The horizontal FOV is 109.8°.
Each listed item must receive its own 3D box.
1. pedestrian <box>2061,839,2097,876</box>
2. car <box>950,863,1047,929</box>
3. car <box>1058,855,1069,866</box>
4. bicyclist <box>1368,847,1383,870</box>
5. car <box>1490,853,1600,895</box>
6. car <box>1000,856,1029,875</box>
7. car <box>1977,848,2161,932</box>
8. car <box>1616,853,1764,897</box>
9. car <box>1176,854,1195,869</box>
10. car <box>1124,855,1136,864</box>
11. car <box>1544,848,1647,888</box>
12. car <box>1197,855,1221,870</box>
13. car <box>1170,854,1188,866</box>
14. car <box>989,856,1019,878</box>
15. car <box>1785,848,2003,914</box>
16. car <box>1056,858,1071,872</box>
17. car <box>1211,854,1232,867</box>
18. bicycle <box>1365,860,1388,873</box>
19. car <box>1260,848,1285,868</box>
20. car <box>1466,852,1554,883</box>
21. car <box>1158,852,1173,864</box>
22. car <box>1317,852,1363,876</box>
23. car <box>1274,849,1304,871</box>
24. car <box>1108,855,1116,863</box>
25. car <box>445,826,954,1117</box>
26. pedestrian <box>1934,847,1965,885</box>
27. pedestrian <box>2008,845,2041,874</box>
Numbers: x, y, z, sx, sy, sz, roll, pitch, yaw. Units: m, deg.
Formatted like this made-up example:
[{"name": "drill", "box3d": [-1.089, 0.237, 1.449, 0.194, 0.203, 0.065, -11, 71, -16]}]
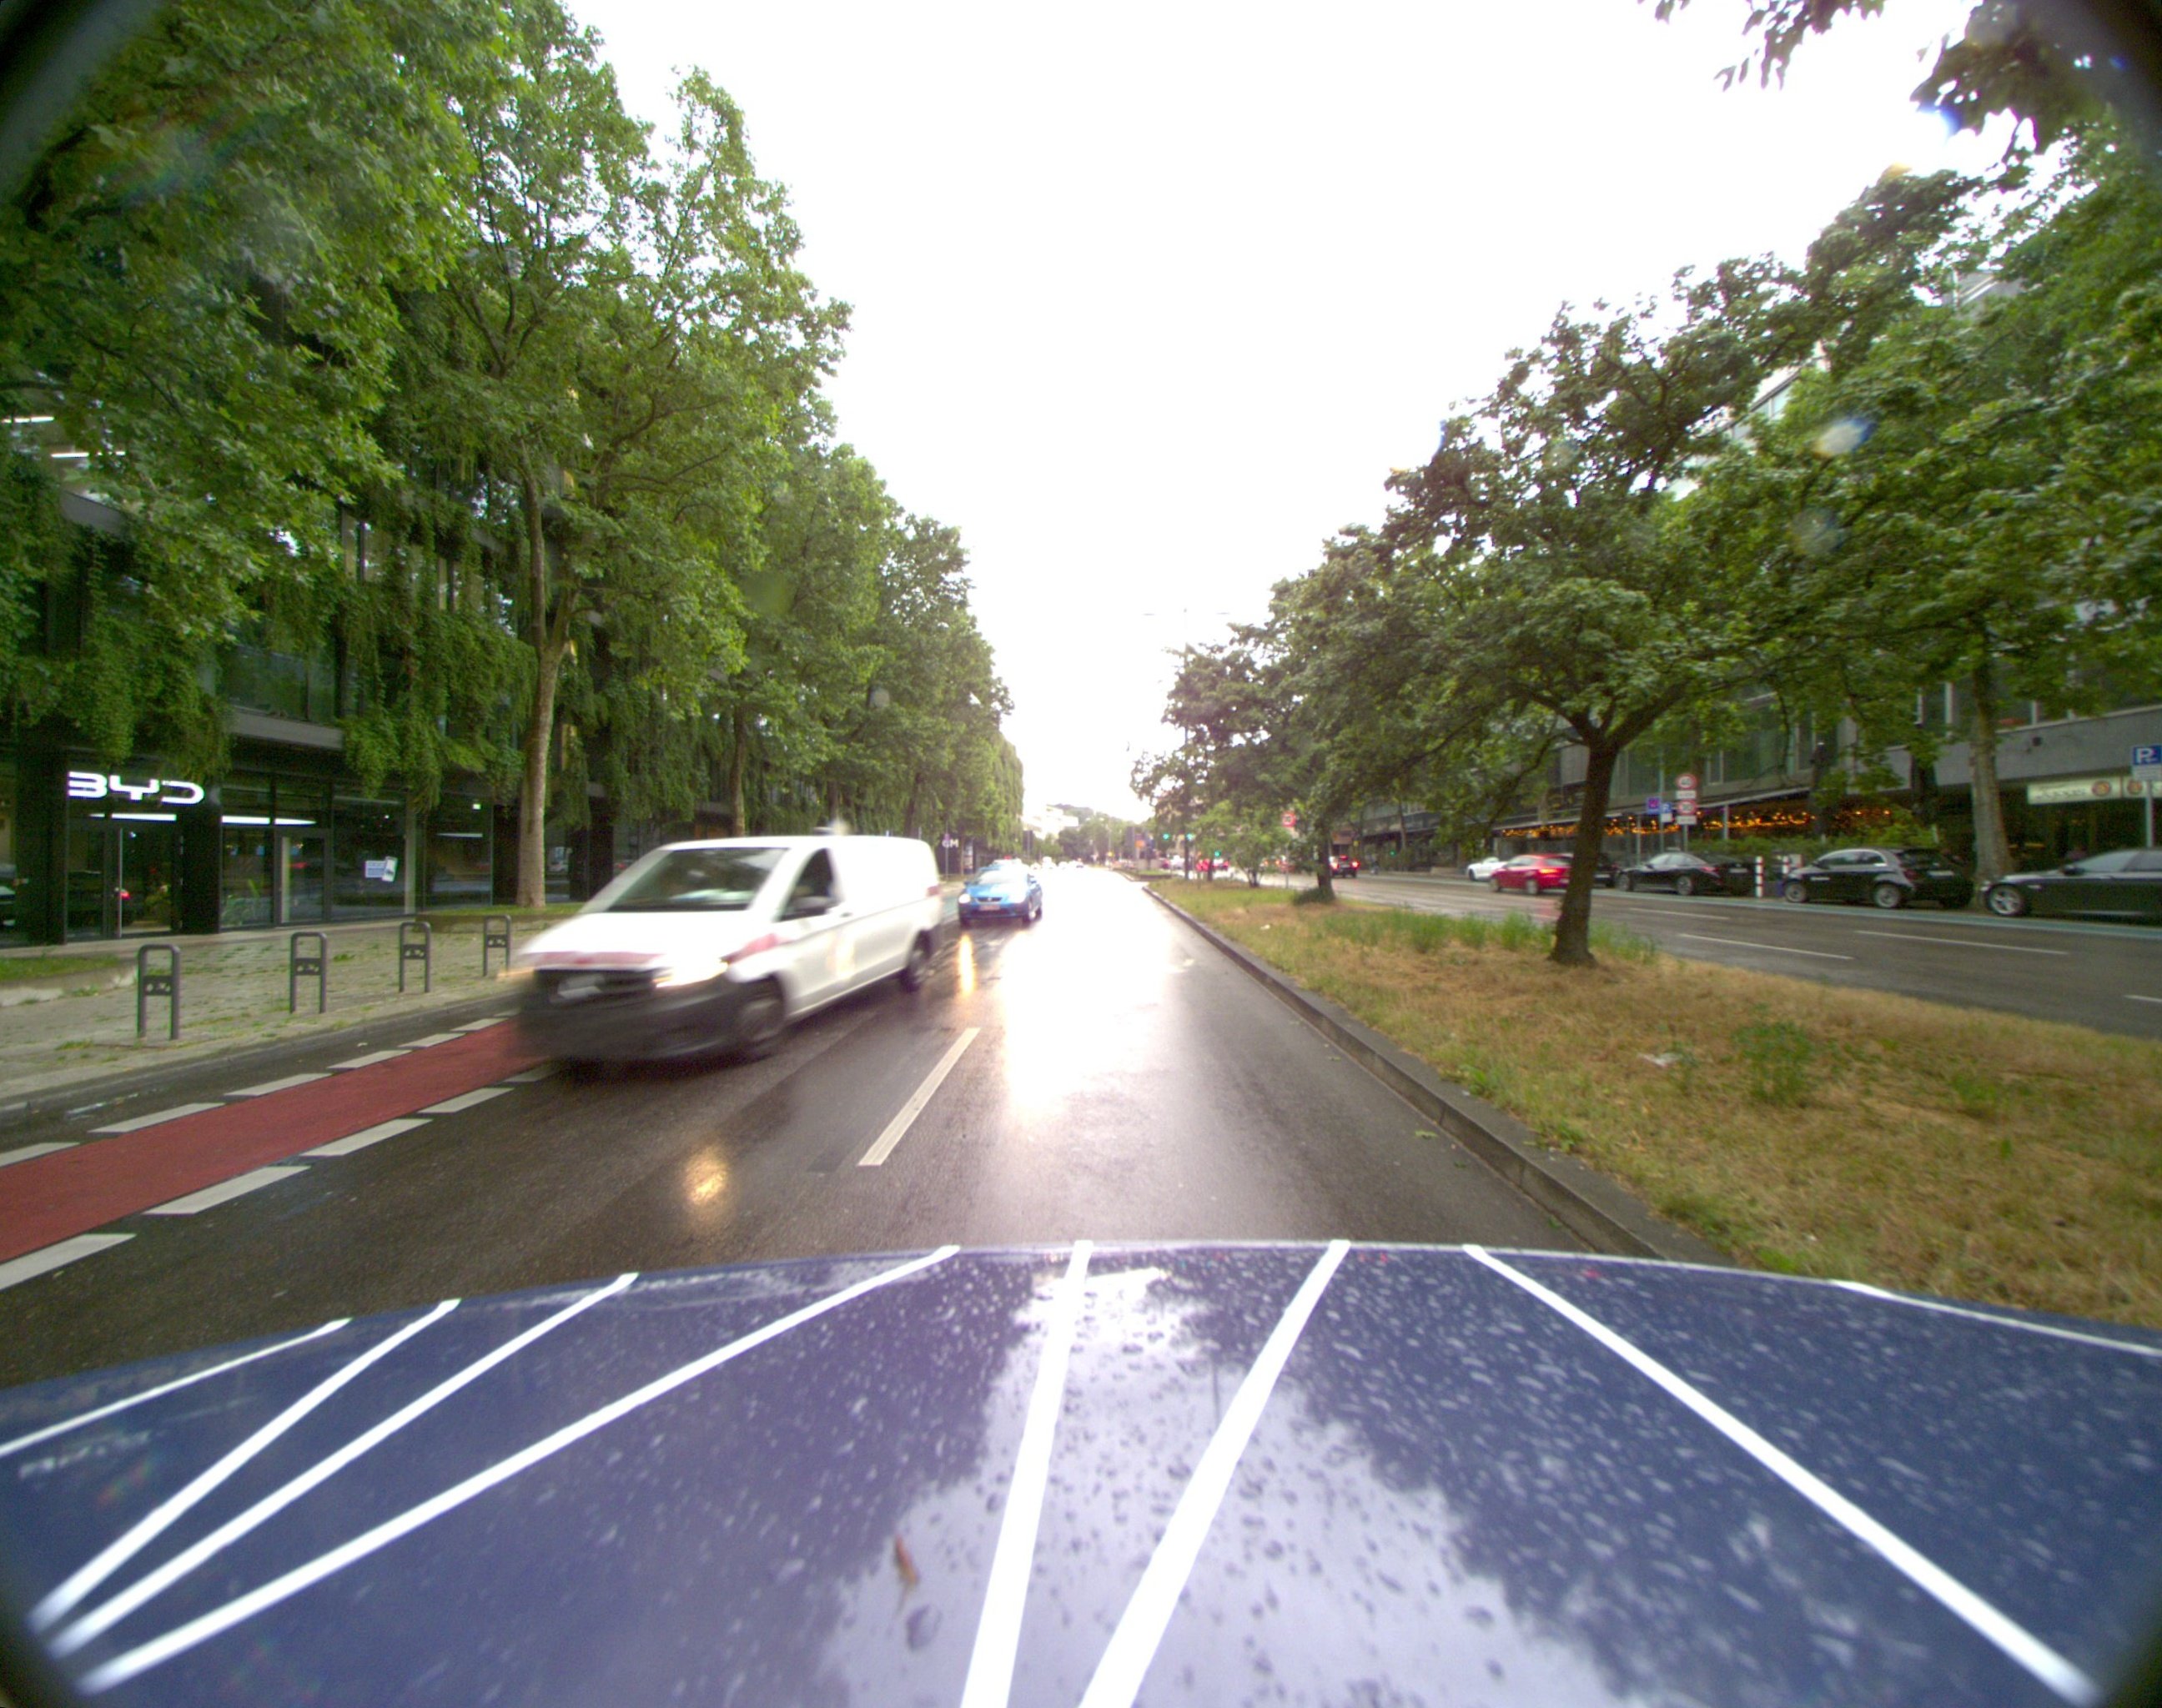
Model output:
[{"name": "pedestrian", "box3d": [27.757, 0.096, 21.137, 0.464, 1.010, 0.424, -2, 1, -1]}, {"name": "car", "box3d": [-2.049, 1.026, 19.970, 1.799, 1.428, 4.063, -1, 1, 4]}, {"name": "car", "box3d": [-2.689, 1.034, 120.033, 1.556, 1.534, 3.663, -2, 1, 1]}, {"name": "bicyclist", "box3d": [20.665, 0.307, 53.323, 0.715, 1.561, 0.609, -2, 1, 1]}, {"name": "car", "box3d": [16.706, 0.681, 27.550, 1.765, 1.318, 3.738, -2, 1, 2]}, {"name": "car", "box3d": [-6.073, 1.042, 70.316, 2.036, 1.553, 4.585, -2, 1, 2]}, {"name": "car", "box3d": [19.885, 0.635, 13.893, 1.875, 1.377, 4.538, -2, 1, 5]}, {"name": "car", "box3d": [20.159, 0.645, 25.421, 1.647, 1.232, 4.319, -2, 1, 3]}, {"name": "car", "box3d": [12.281, 0.888, 89.707, 1.881, 1.567, 3.820, -2, 1, 3]}, {"name": "car", "box3d": [8.251, 0.900, 127.935, 1.649, 1.450, 3.459, -2, 1, -2]}, {"name": "car", "box3d": [21.060, 0.542, 31.301, 1.750, 1.445, 3.788, -2, 1, 2]}, {"name": "car", "box3d": [12.968, 0.881, 76.997, 1.678, 1.381, 3.527, -2, 1, -2]}, {"name": "car", "box3d": [12.878, 0.756, 100.044, 1.678, 1.381, 3.527, -2, 1, -2]}, {"name": "car", "box3d": [-6.478, 1.066, 64.530, 1.932, 1.726, 4.598, -2, 1, 0]}, {"name": "car", "box3d": [20.110, 0.600, 19.020, 1.875, 1.414, 3.400, -2, 1, 2]}, {"name": "car", "box3d": [-2.172, 1.332, 95.601, 1.780, 1.546, 3.929, -2, 1, 1]}, {"name": "car", "box3d": [16.755, 0.805, 90.743, 1.678, 1.381, 3.527, -2, 1, -2]}, {"name": "bicycle", "box3d": [20.686, 0.870, 53.230, 0.715, 0.838, 2.231, -2, 1, 1]}, {"name": "car", "box3d": [19.187, 0.358, 76.247, 1.752, 1.872, 3.859, -2, 1, 4]}, {"name": "car", "box3d": [20.758, 0.625, 36.963, 1.881, 1.318, 4.392, -2, 1, 2]}, {"name": "car", "box3d": [12.574, 0.543, 113.722, 1.678, 1.621, 3.527, -2, 1, -2]}, {"name": "car", "box3d": [17.340, 0.624, 51.030, 1.868, 1.408, 4.105, -2, 1, 4]}, {"name": "car", "box3d": [18.135, 0.506, 66.333, 1.752, 1.716, 3.859, -2, 1, 4]}, {"name": "car", "box3d": [8.232, 1.381, 200.067, 1.998, 1.838, 4.000, -2, 1, 4]}, {"name": "car", "box3d": [-3.083, 0.785, 7.660, 1.922, 1.934, 4.968, -1, 0, 11]}, {"name": "pedestrian", "box3d": [27.650, 0.375, 24.193, 0.466, 1.179, 0.445, -2, 1, 3]}, {"name": "pedestrian", "box3d": [27.946, 0.158, 22.504, 0.440, 0.845, 0.433, -2, 1, -1]}]
